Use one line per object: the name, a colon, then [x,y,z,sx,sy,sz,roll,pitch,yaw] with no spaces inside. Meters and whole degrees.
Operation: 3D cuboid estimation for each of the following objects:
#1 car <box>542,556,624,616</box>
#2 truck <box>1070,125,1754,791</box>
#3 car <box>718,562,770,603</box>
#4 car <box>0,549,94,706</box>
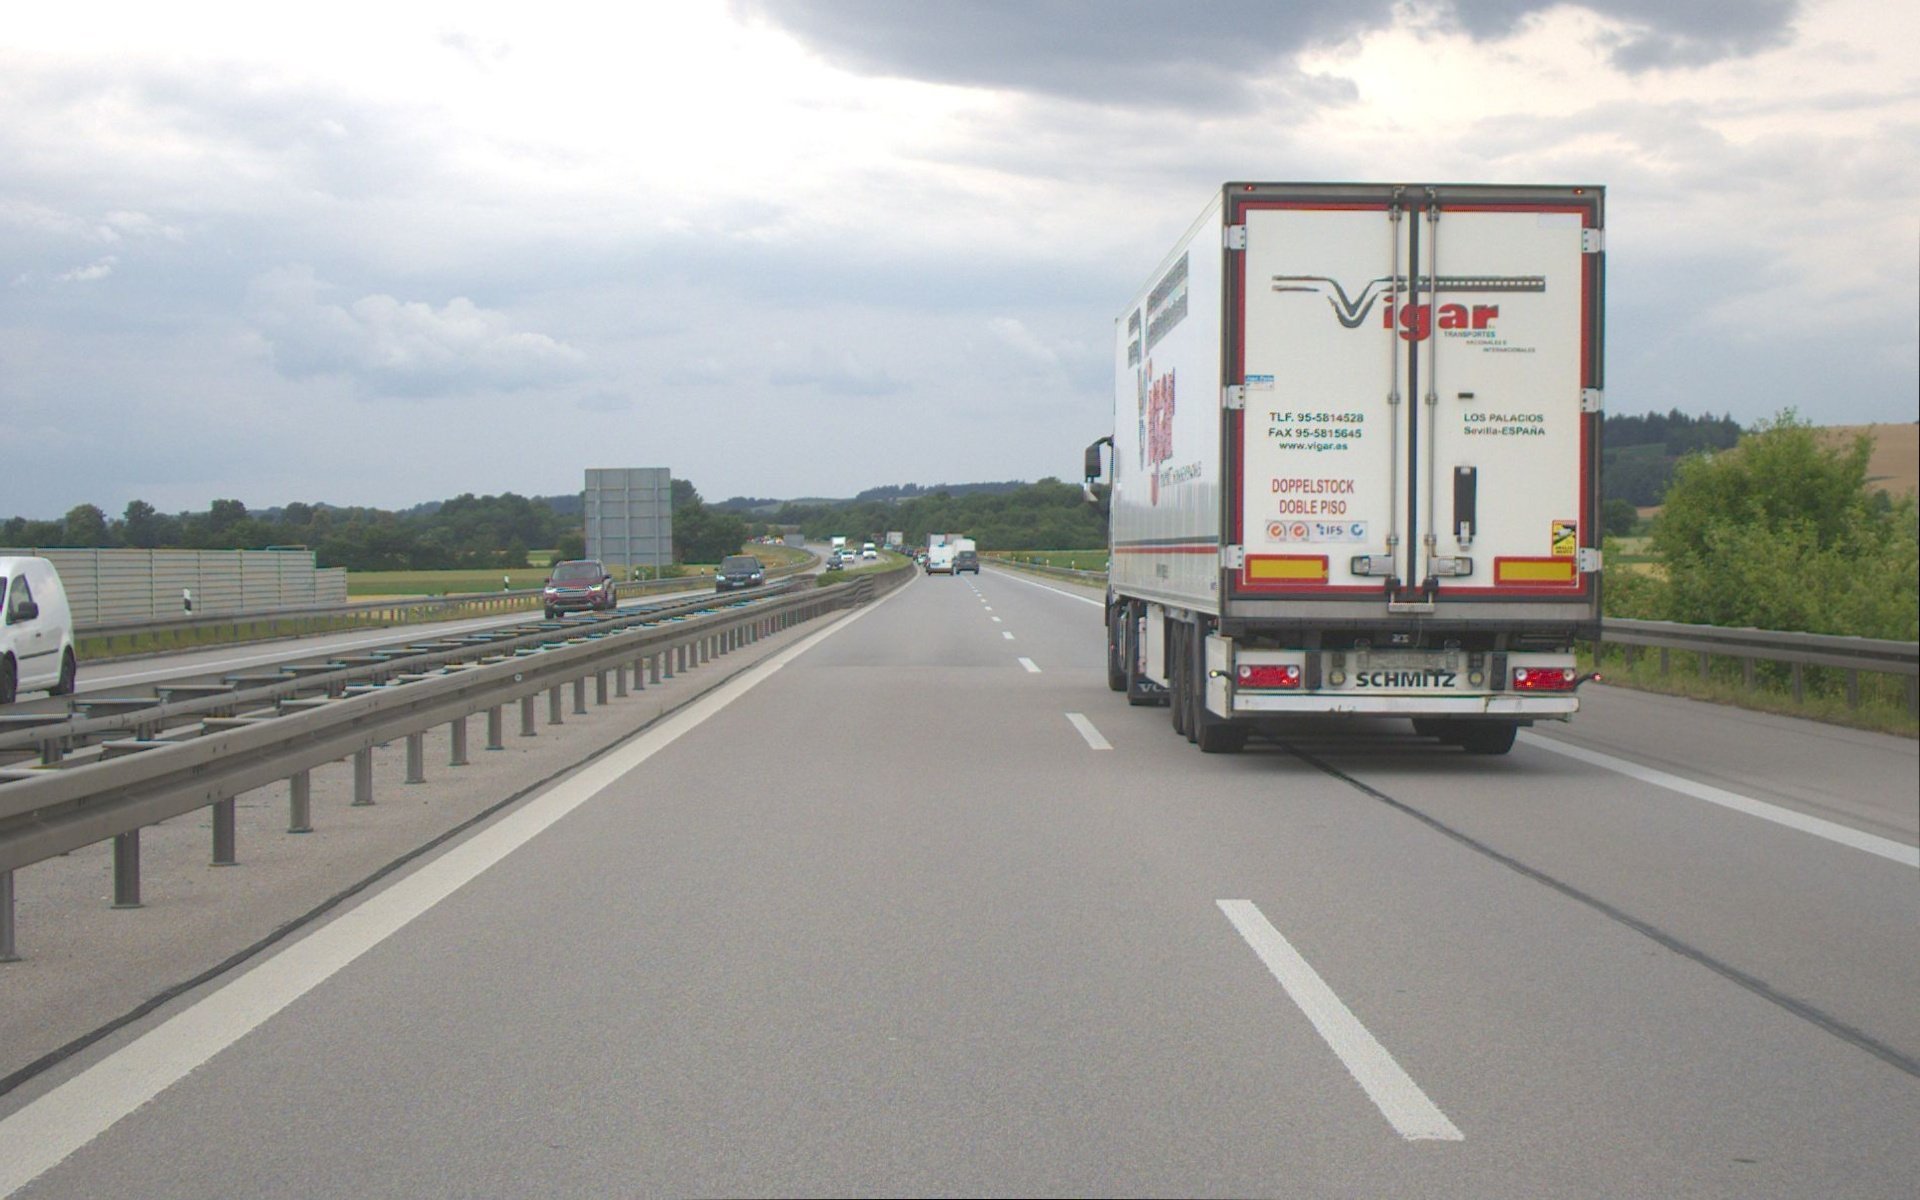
car: [-11.193,-0.439,102.183,1.895,1.626,4.174,-3,1,0]
truck: [3.278,-1.111,31.042,3.672,4.397,16.342,-1,1,-1]
car: [-9.236,-0.763,147.237,1.895,1.626,4.174,-3,1,0]
car: [-11.572,0.336,39.794,1.755,1.736,4.914,-4,1,0]
